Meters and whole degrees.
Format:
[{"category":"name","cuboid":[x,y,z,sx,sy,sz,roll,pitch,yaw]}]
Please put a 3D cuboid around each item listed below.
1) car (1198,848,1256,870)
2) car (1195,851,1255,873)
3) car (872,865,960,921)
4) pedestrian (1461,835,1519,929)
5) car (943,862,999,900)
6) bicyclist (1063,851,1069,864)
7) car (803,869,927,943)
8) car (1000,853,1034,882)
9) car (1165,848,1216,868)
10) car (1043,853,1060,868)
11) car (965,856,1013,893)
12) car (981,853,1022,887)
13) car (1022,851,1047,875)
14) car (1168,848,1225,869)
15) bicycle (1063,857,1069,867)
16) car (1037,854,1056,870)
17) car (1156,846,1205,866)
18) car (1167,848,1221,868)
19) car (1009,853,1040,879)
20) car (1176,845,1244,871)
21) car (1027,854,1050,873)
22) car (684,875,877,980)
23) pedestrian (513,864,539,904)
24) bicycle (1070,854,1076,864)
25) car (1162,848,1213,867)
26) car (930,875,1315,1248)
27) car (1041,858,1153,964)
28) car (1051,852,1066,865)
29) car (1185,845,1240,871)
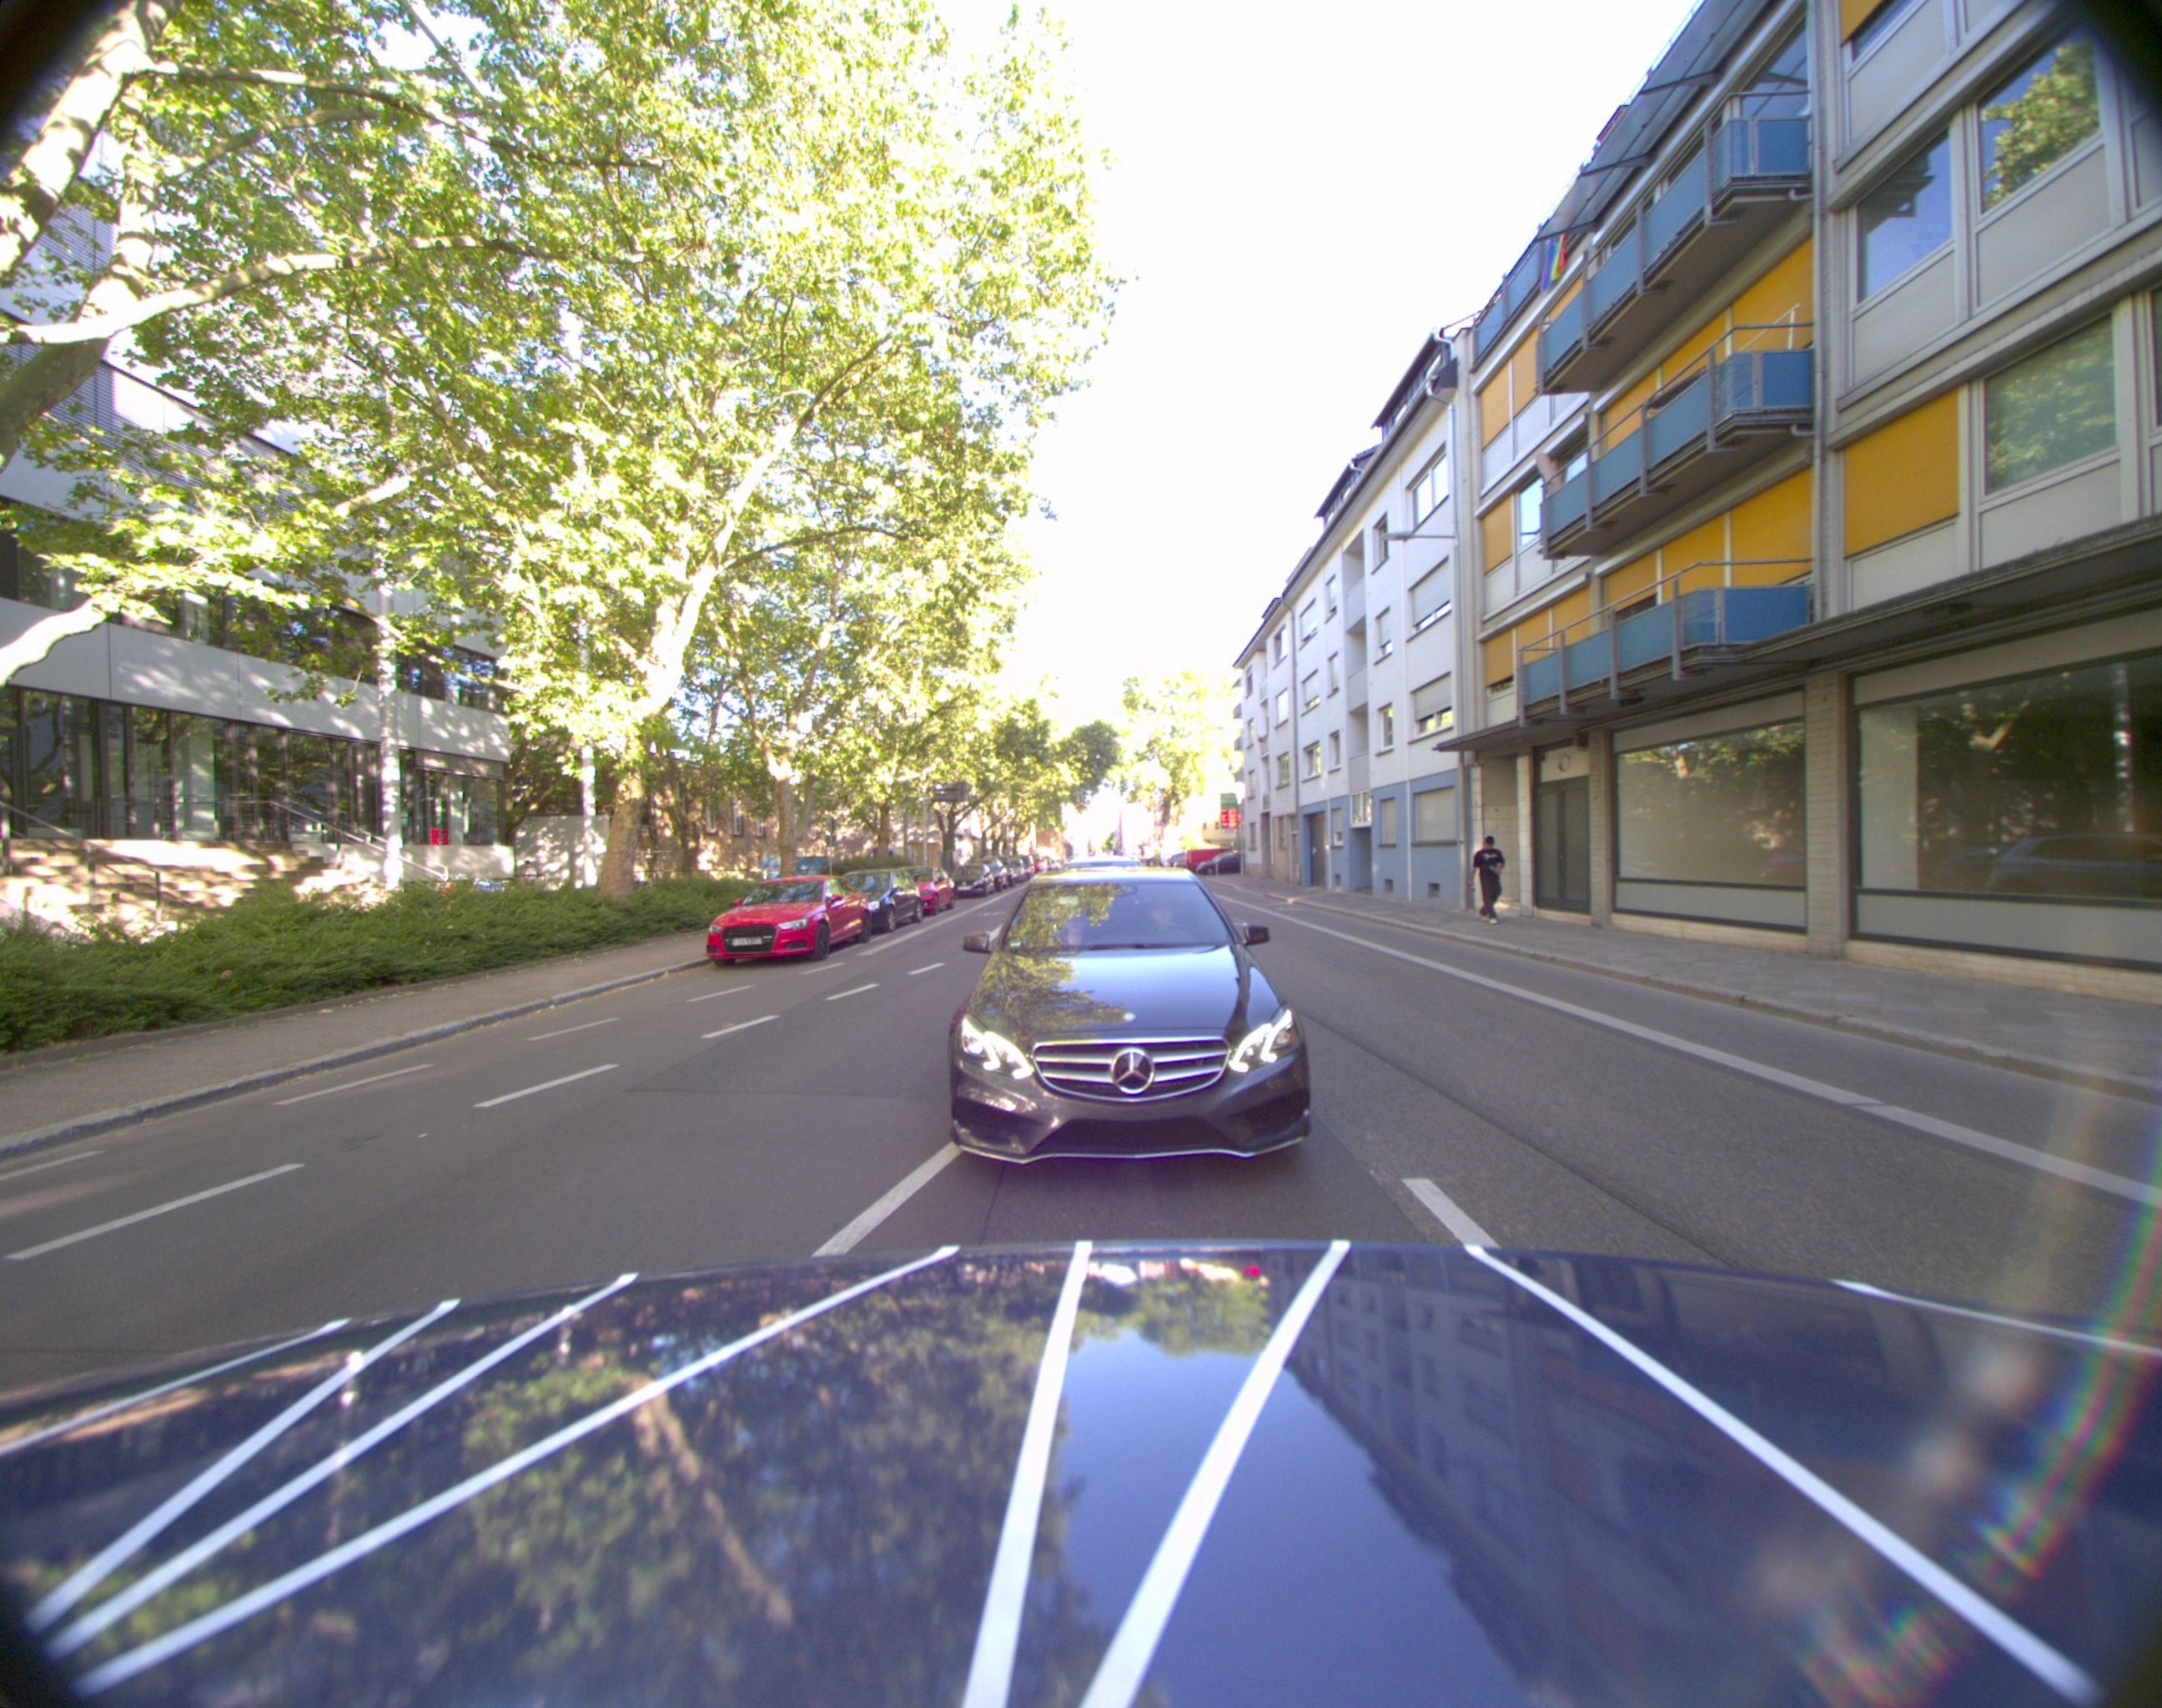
[{"category":"car","cuboid":[10.913,0.389,57.002,3.997,1.552,1.743,-2,0,1]},{"category":"car","cuboid":[10.357,0.560,54.791,3.997,1.412,1.743,-2,0,1]},{"category":"car","cuboid":[-5.034,1.143,23.666,1.755,1.459,3.909,-3,0,1]},{"category":"pedestrian","cuboid":[7.951,0.526,14.804,0.663,1.761,0.793,-2,1,2]},{"category":"car","cuboid":[-4.750,1.115,33.304,1.755,1.424,3.909,-3,0,1]},{"category":"bicyclist","cuboid":[-1.647,0.380,83.320,0.650,1.427,0.741,-2,1,1]},{"category":"car","cuboid":[-5.085,1.170,18.454,1.755,1.424,3.909,-3,0,1]},{"category":"car","cuboid":[-4.272,0.877,50.955,1.755,1.718,4.447,-3,0,1]},{"category":"car","cuboid":[11.287,0.370,78.730,4.991,1.926,2.083,-2,0,1]},{"category":"car","cuboid":[-3.646,0.770,93.015,1.755,1.652,4.447,-3,0,1]},{"category":"car","cuboid":[-4.563,0.973,38.274,1.755,1.644,4.174,-3,0,1]},{"category":"car","cuboid":[-4.553,0.868,44.073,1.755,1.810,4.447,-3,0,1]},{"category":"car","cuboid":[-3.996,0.726,66.400,1.755,1.941,4.447,-3,0,1]},{"category":"car","cuboid":[11.100,0.441,73.532,5.143,1.926,2.187,-2,0,1]},{"category":"bicycle","cuboid":[-1.632,0.889,83.252,0.650,1.053,1.595,-2,0,1]},{"category":"car","cuboid":[-3.775,0.867,83.525,1.755,1.652,4.447,-3,0,1]},{"category":"car","cuboid":[11.190,0.199,85.531,5.143,2.135,2.187,-2,0,1]},{"category":"car","cuboid":[11.273,0.402,76.232,5.054,1.926,2.161,-2,0,1]},{"category":"car","cuboid":[-4.102,0.819,55.766,1.755,1.753,4.447,-3,0,1]},{"category":"car","cuboid":[10.637,0.292,63.116,5.223,1.969,2.257,-2,0,1]},{"category":"car","cuboid":[-4.002,0.900,72.186,1.755,1.652,4.447,-3,0,1]},{"category":"car","cuboid":[-5.125,1.179,13.608,1.755,1.400,4.000,-3,0,1]},{"category":"pedestrian","cuboid":[-23.566,1.259,32.256,0.525,1.660,0.661,-2,1,2]},{"category":"bicycle","cuboid":[-0.887,0.556,83.198,0.574,1.053,1.595,-2,0,1]},{"category":"car","cuboid":[11.323,0.345,81.195,5.042,1.926,2.315,-2,0,1]},{"category":"car","cuboid":[0.211,0.980,5.368,1.667,1.499,4.000,-1,0,1]},{"category":"car","cuboid":[0.270,0.883,13.620,1.667,1.563,4.000,-1,0,1]},{"category":"car","cuboid":[-3.014,0.647,103.214,1.755,1.652,4.447,-3,0,1]},{"category":"car","cuboid":[10.332,0.298,60.091,3.997,1.926,1.867,-2,0,1]}]
